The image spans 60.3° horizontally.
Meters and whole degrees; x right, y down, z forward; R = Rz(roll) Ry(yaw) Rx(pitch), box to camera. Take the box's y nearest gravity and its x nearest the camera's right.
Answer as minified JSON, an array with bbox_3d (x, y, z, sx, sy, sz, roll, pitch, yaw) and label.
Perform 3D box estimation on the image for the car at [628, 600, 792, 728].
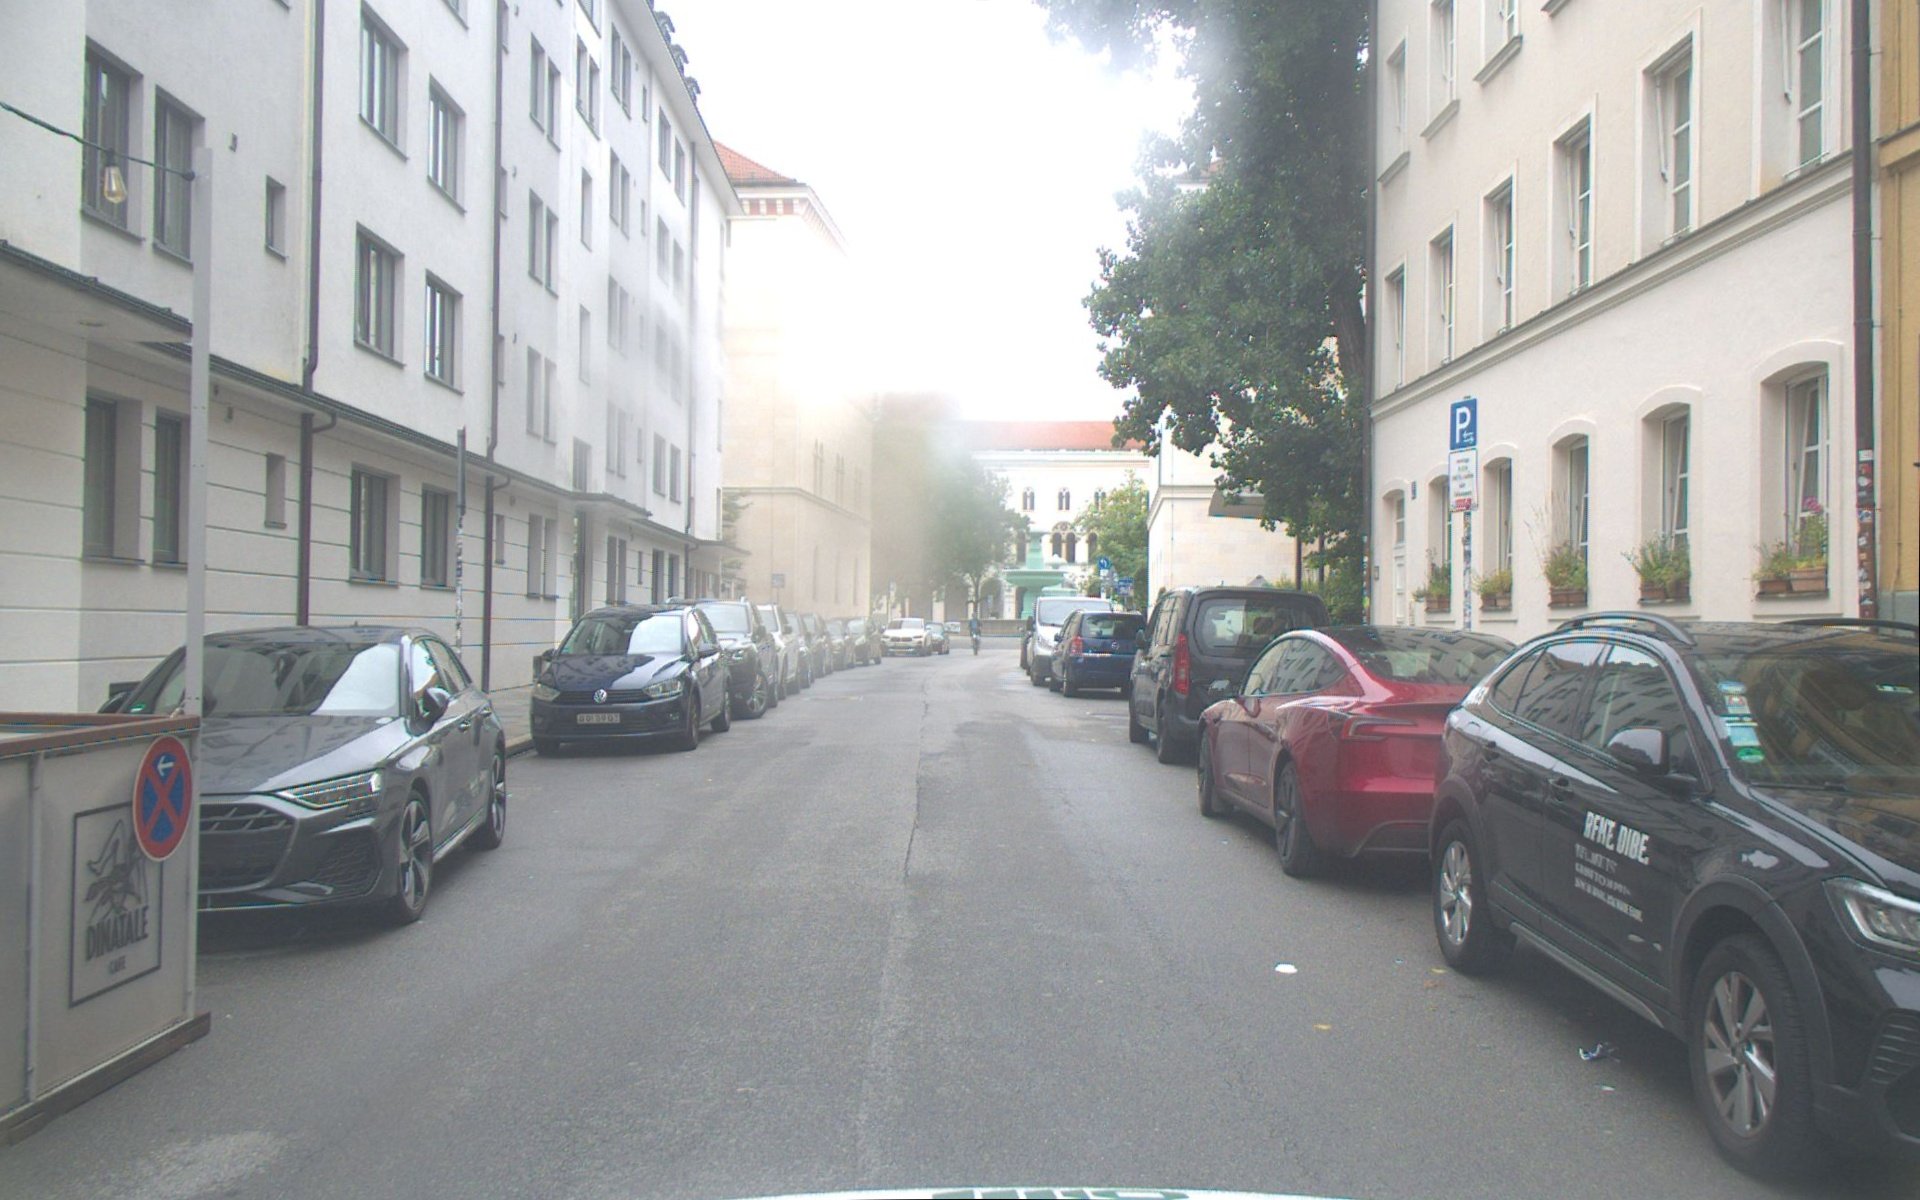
[{"bbox_3d":[-3.639,0.880,24.830,1.834,1.718,4.519,-1,0,-1],"label":"car"}]

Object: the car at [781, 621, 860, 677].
[{"bbox_3d":[-3.934,1.361,47.304,1.714,1.479,4.017,-1,0,3],"label":"car"}]

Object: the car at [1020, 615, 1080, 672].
[{"bbox_3d":[2.734,1.305,50.388,1.711,1.622,3.957,1,-1,3],"label":"car"}]

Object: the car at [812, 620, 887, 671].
[{"bbox_3d":[-3.432,1.401,52.029,1.713,1.479,4.018,-1,0,5],"label":"car"}]

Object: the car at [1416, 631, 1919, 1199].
[{"bbox_3d":[3.005,0.881,5.750,1.710,1.490,3.999,0,0,0],"label":"car"}]

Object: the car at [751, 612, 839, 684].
[{"bbox_3d":[-4.124,1.177,41.844,1.834,1.687,4.079,-1,0,-1],"label":"car"}]

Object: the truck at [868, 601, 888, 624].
[{"bbox_3d":[-9.521,1.464,191.791,1.955,2.532,3.995,1,-1,-6],"label":"truck"}]

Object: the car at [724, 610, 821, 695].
[{"bbox_3d":[-4.036,1.087,36.220,1.835,1.687,4.587,-1,0,-3],"label":"car"}]

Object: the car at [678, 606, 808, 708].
[{"bbox_3d":[-3.889,0.972,30.320,1.834,1.687,4.589,-1,0,-1],"label":"car"}]

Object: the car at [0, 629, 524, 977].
[{"bbox_3d":[-3.514,0.889,9.053,1.607,1.378,4.052,-1,0,-7],"label":"car"}]

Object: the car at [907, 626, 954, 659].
[{"bbox_3d":[-1.288,1.902,73.601,1.662,1.417,4.213,-1,-2,5],"label":"car"}]

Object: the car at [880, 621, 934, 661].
[{"bbox_3d":[-2.127,1.690,67.291,1.741,1.562,4.213,-1,-2,4],"label":"car"}]

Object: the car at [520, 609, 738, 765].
[{"bbox_3d":[-3.692,0.908,19.157,1.737,1.566,4.158,-1,0,-1],"label":"car"}]

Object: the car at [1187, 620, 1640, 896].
[{"bbox_3d":[2.717,0.875,11.001,1.679,1.449,4.456,1,-1,-2],"label":"car"}]

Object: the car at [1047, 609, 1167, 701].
[{"bbox_3d":[2.769,1.018,31.958,1.771,1.628,4.213,1,-1,-2],"label":"car"}]

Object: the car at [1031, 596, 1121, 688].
[{"bbox_3d":[2.581,0.930,37.897,1.843,1.958,4.875,1,-1,2],"label":"car"}]

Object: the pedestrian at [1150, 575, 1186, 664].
[{"bbox_3d":[5.365,0.502,42.685,0.777,2.236,0.813,1,-1,-1],"label":"pedestrian"}]

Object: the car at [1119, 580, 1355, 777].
[{"bbox_3d":[2.875,0.801,18.044,1.809,1.807,4.200,3,-1,0],"label":"car"}]

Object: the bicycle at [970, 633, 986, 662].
[{"bbox_3d":[0.787,2.017,70.896,0.635,1.218,1.950,0,-1,2],"label":"bicycle"}]

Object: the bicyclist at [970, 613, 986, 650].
[{"bbox_3d":[0.782,1.345,71.078,0.643,1.578,0.888,0,-2,2],"label":"bicyclist"}]
